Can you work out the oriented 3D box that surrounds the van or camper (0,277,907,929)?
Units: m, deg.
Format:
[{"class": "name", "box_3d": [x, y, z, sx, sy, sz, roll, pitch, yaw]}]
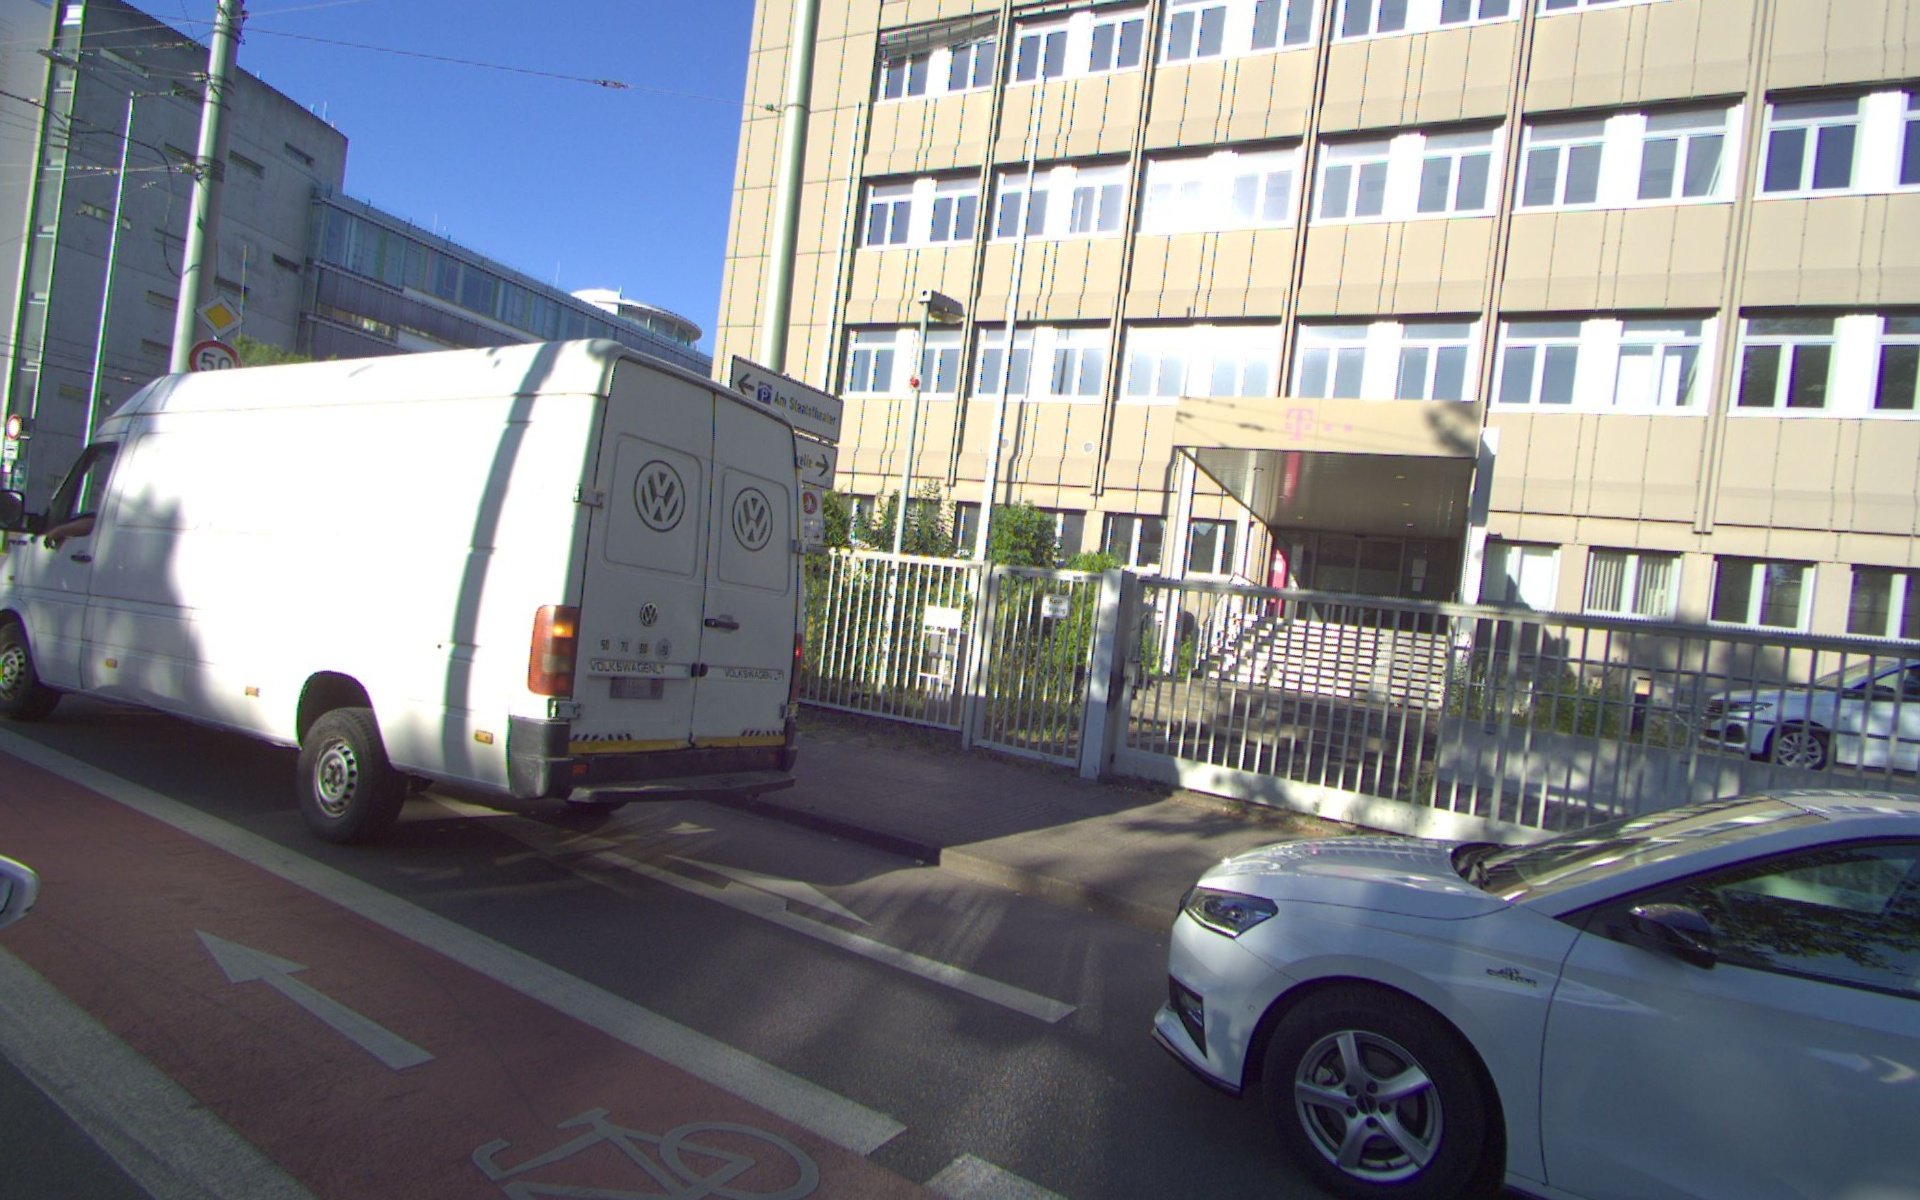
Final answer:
[{"class": "van or camper", "box_3d": [-3.765, -0.202, 6.690, 6.236, 2.764, 2.276, 7, -2, 28]}]

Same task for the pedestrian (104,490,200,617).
[{"class": "pedestrian", "box_3d": [-12.121, -0.687, 15.093, 0.759, 1.770, 0.787, 7, 1, 32]}]

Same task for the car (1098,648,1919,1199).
[{"class": "car", "box_3d": [2.663, 1.191, 3.093, 3.914, 1.518, 1.806, 7, -1, 30]}]

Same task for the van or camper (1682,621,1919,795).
[{"class": "van or camper", "box_3d": [12.797, 1.559, 13.218, 4.911, 1.932, 1.985, 7, 0, 26]}]
